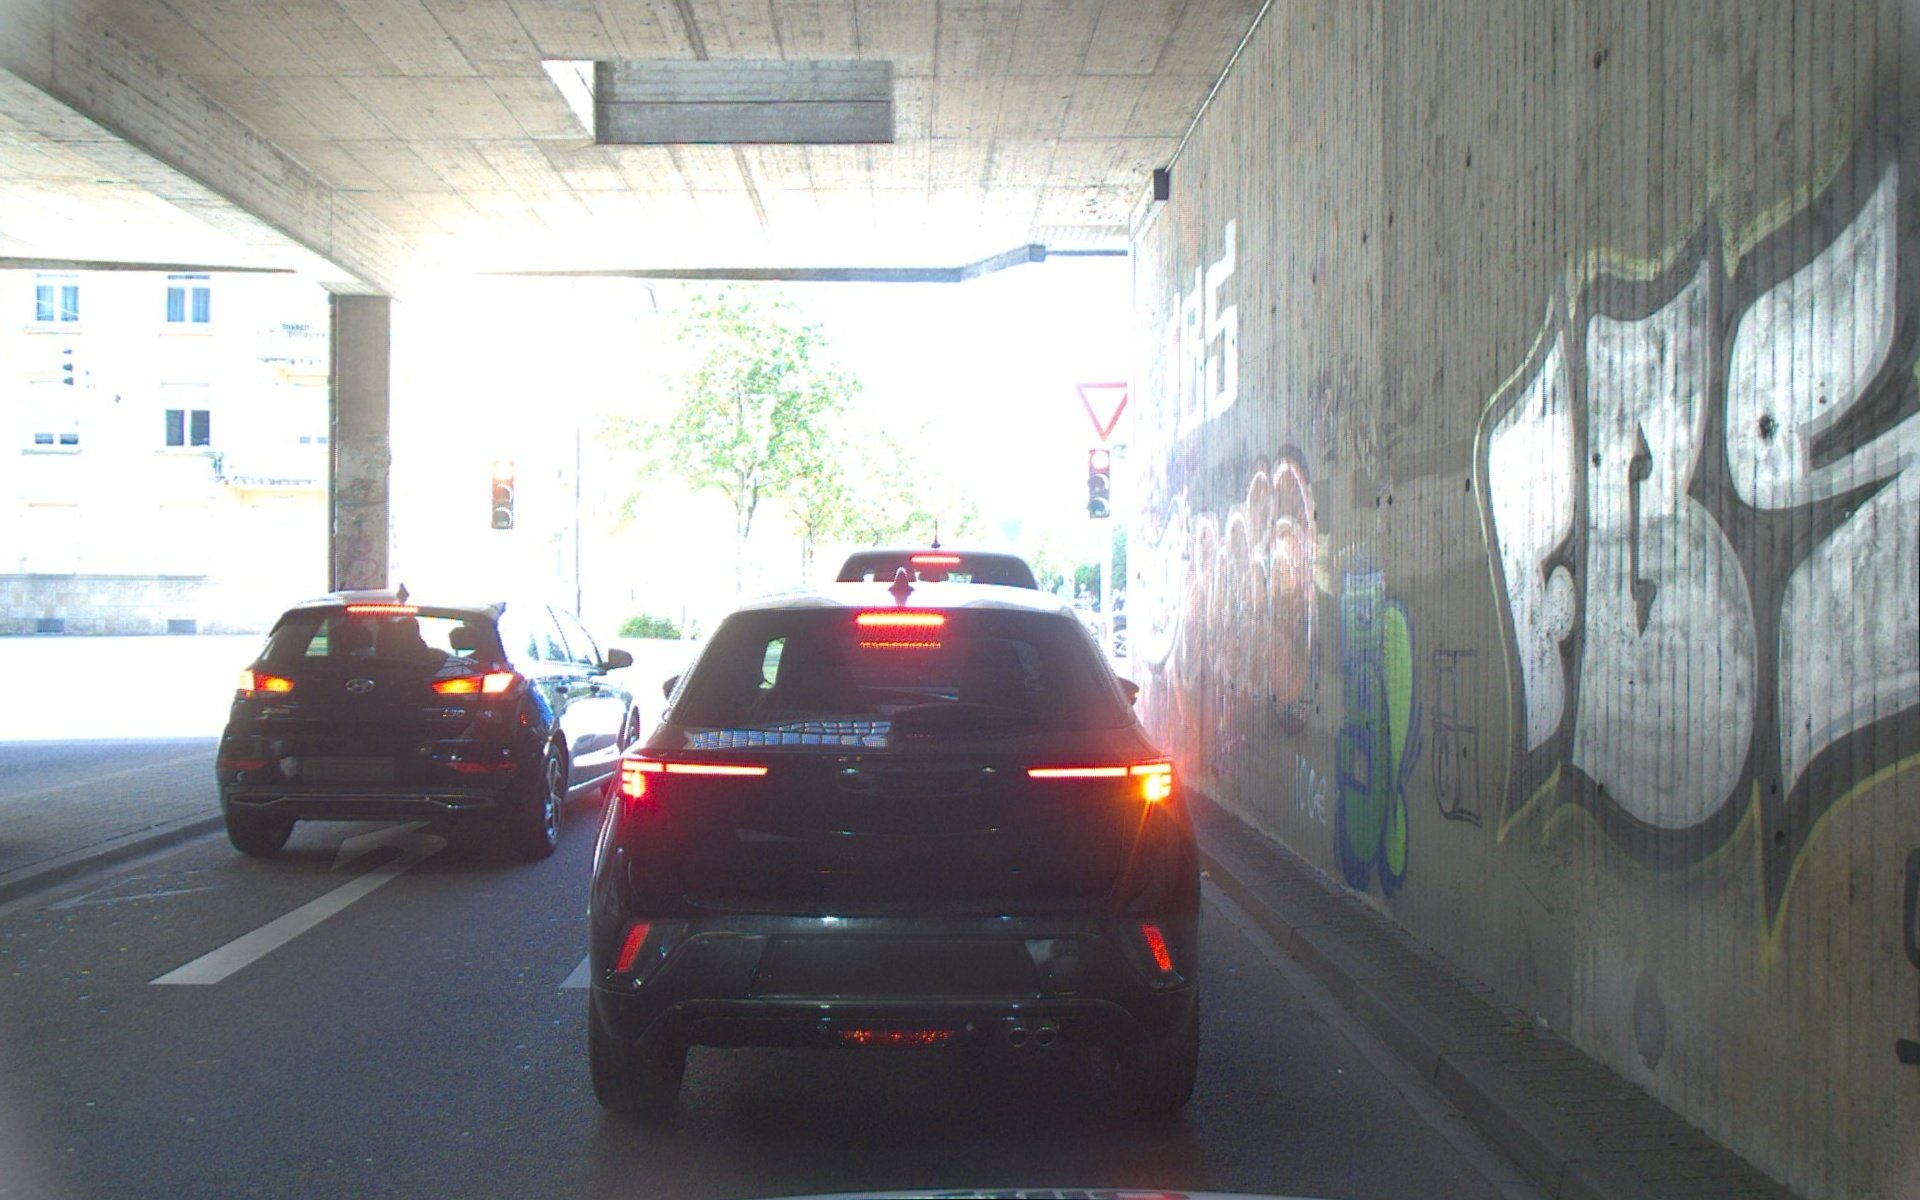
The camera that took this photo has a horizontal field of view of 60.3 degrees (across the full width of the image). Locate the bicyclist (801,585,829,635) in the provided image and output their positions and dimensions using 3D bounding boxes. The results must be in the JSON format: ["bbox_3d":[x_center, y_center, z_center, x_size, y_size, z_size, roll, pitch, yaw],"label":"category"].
[{"bbox_3d":[-4.772,0.334,54.328,0.713,1.609,0.815,1,-1,9],"label":"bicyclist"}]

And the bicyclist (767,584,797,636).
[{"bbox_3d":[-5.542,0.305,51.452,0.713,1.609,0.815,1,-1,9],"label":"bicyclist"}]

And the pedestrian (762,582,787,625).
[{"bbox_3d":[-8.905,0.177,79.329,0.971,2.049,1.089,0,0,7],"label":"pedestrian"}]

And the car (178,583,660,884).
[{"bbox_3d":[-3.074,0.660,10.354,1.744,1.472,4.177,1,0,-2],"label":"car"}]

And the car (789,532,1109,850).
[{"bbox_3d":[-0.092,0.534,11.882,1.906,1.892,3.963,0,0,-1],"label":"car"}]

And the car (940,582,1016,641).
[{"bbox_3d":[0.495,0.342,44.177,1.927,1.523,3.896,0,-1,1],"label":"car"}]

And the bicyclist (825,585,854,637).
[{"bbox_3d":[-3.780,0.340,52.058,0.713,1.609,0.815,1,-1,9],"label":"bicyclist"}]

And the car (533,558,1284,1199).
[{"bbox_3d":[-0.151,0.673,6.058,1.844,1.565,3.963,0,0,-1],"label":"car"}]

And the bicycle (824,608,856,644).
[{"bbox_3d":[-3.772,0.806,52.061,0.612,1.086,1.690,1,0,9],"label":"bicycle"}]

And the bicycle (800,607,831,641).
[{"bbox_3d":[-4.761,0.784,54.487,0.612,1.086,1.690,1,0,9],"label":"bicycle"}]

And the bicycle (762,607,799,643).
[{"bbox_3d":[-5.561,0.770,51.419,0.716,1.086,1.690,1,0,9],"label":"bicycle"}]

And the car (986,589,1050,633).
[{"bbox_3d":[2.460,0.495,69.036,2.173,1.749,4.463,0,-1,9],"label":"car"}]

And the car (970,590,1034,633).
[{"bbox_3d":[1.616,0.451,62.214,1.926,1.523,3.899,0,-1,8],"label":"car"}]
